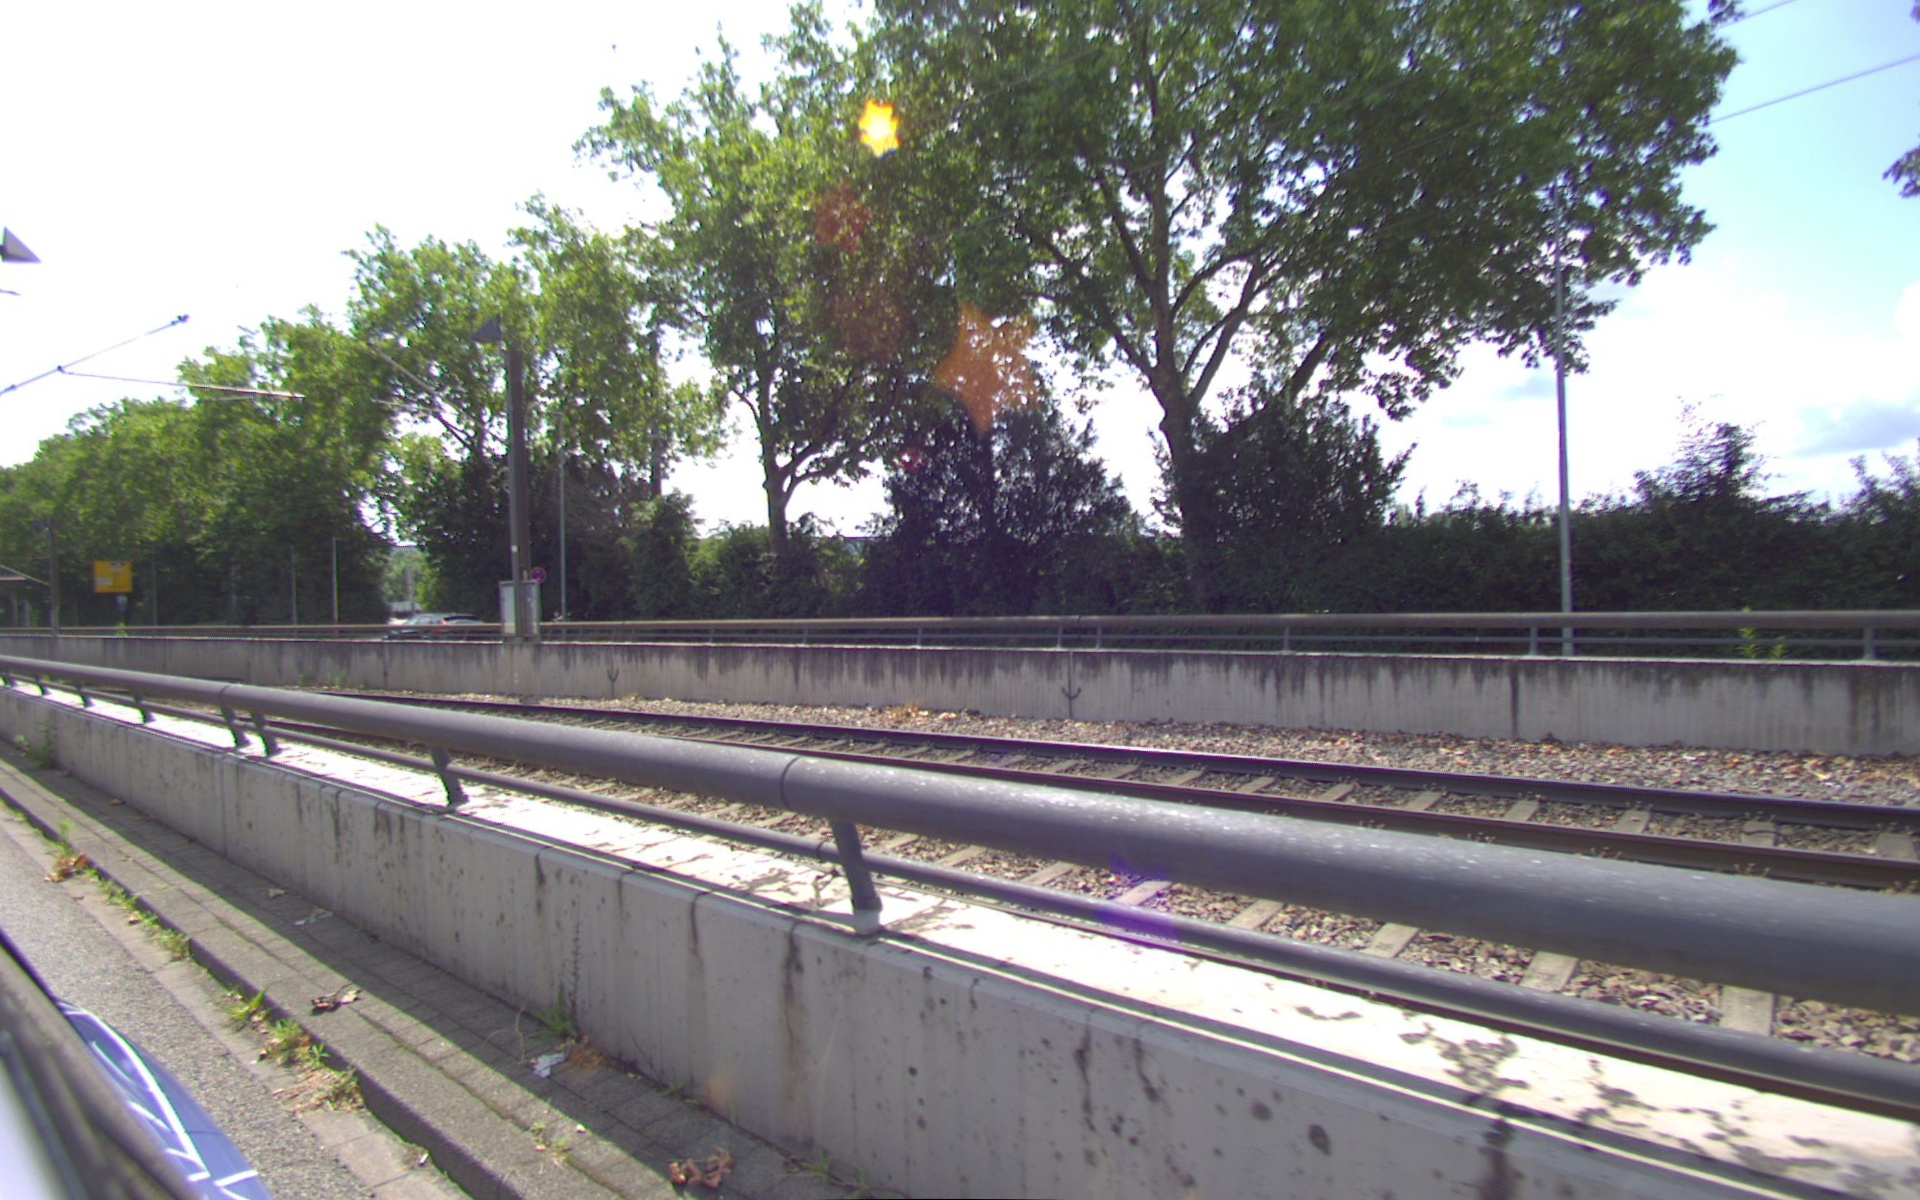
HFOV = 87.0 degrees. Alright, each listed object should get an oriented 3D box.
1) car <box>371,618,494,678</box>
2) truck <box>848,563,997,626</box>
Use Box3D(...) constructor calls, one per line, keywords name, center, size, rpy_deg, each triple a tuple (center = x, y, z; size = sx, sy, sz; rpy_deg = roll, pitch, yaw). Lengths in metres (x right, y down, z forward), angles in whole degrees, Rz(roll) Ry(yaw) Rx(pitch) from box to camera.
Box3D(name="car", center=(-15.445, 1.379, 29.545), size=(4.294, 1.609, 1.650), rpy_deg=(-2, -2, 40))
Box3D(name="truck", center=(-2.375, -0.282, 72.197), size=(2.747, 4.105, 12.654), rpy_deg=(-2, -2, 41))
